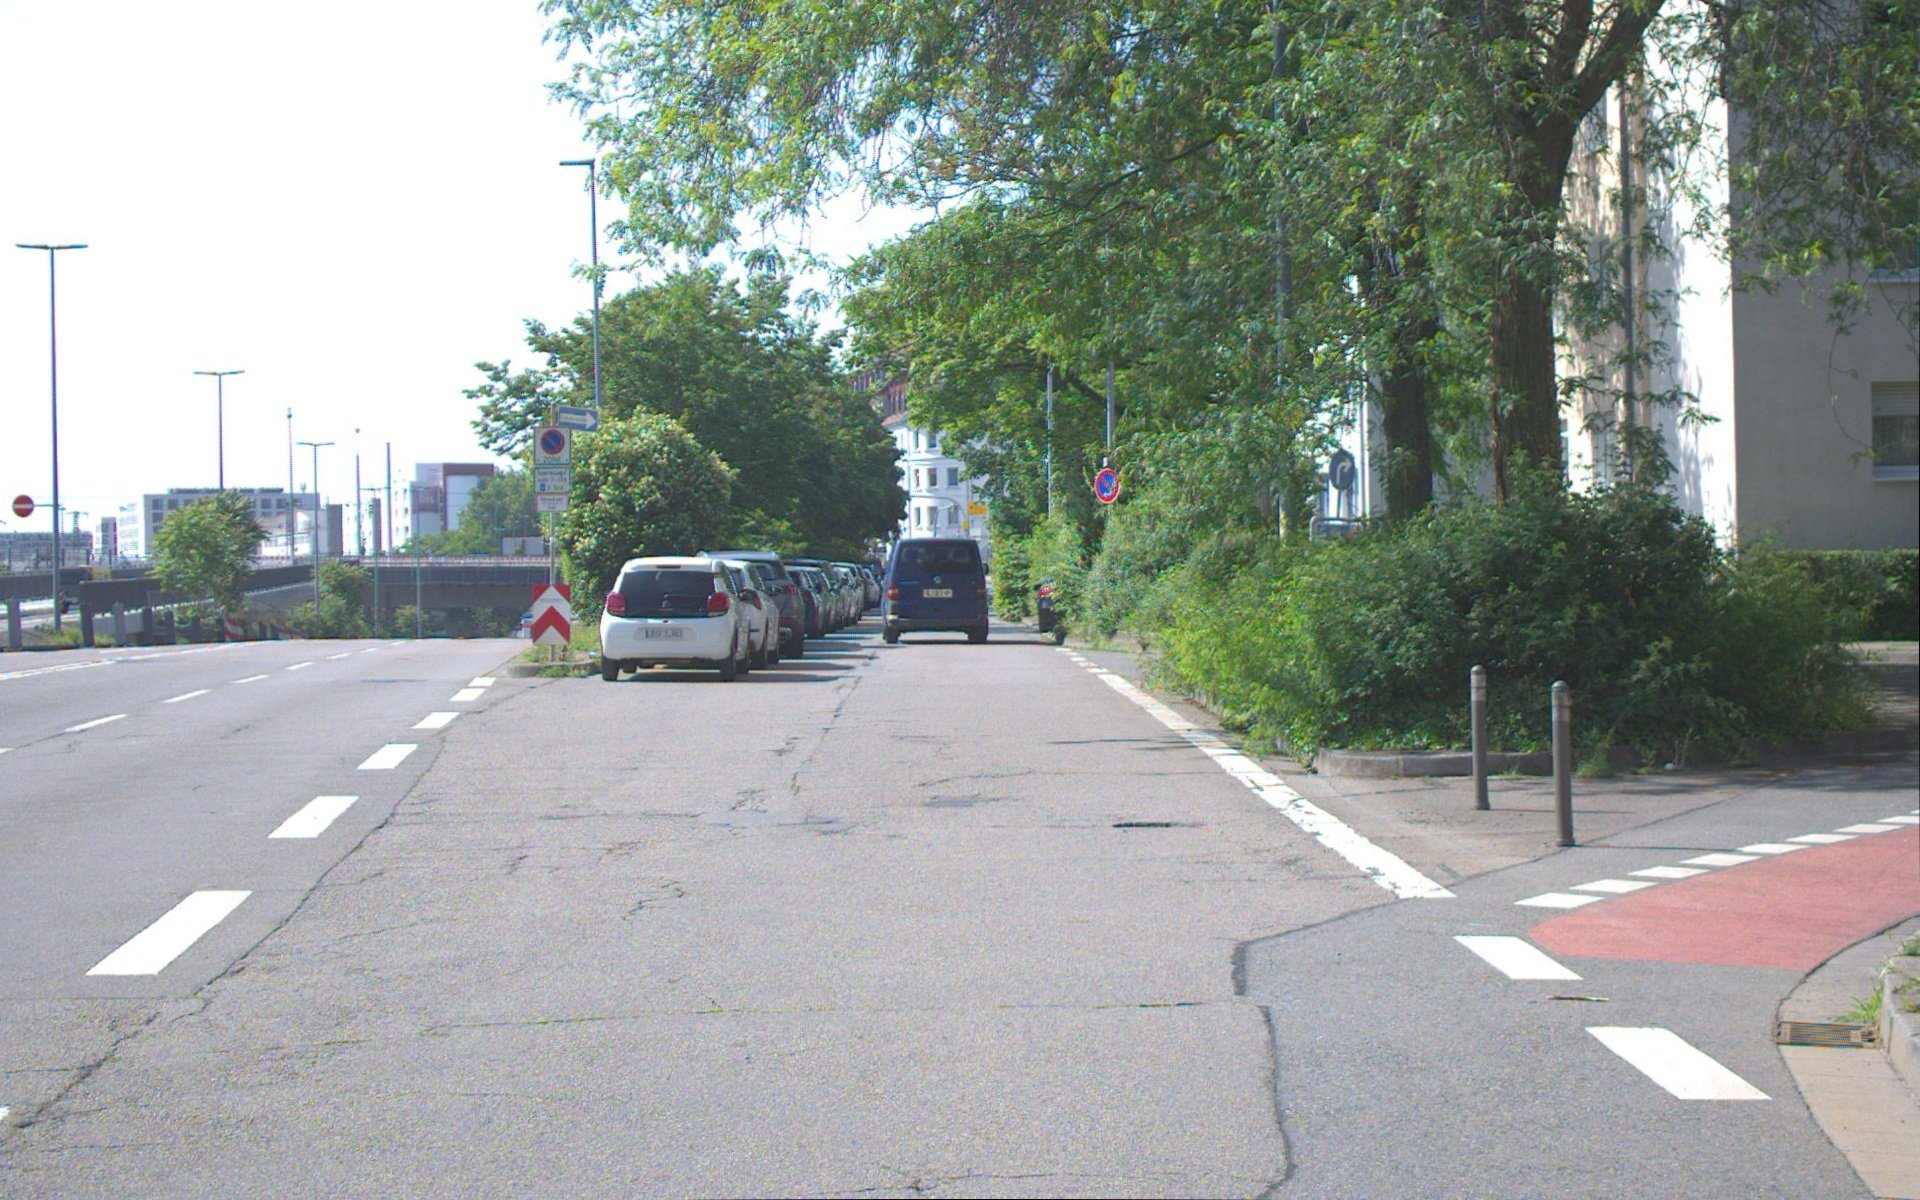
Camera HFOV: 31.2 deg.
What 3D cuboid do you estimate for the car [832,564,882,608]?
[{"bbox_3d":[-3.792,-0.529,127.248,1.664,1.504,4.008,2,1,0],"label":"car"}]

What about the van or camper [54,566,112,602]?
[{"bbox_3d":[-33.317,-0.628,130.671,1.466,1.345,4.631,0,1,-6],"label":"van or camper"}]

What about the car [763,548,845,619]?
[{"bbox_3d":[-3.550,-0.399,78.875,1.664,1.578,3.931,0,1,0],"label":"car"}]

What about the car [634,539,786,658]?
[{"bbox_3d":[-3.373,-0.053,47.027,1.721,1.500,4.132,2,1,0],"label":"car"}]

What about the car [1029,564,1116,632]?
[{"bbox_3d":[2.433,-0.056,75.363,1.726,1.415,4.000,-1,0,0],"label":"car"}]

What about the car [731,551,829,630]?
[{"bbox_3d":[-3.545,-0.208,68.208,1.664,1.468,3.789,2,1,0],"label":"car"}]

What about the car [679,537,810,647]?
[{"bbox_3d":[-3.313,-0.160,52.244,1.771,1.574,4.187,-1,1,-6],"label":"car"}]

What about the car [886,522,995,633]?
[{"bbox_3d":[-0.343,-0.433,63.587,1.883,1.915,4.008,2,1,0],"label":"car"}]

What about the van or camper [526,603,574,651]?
[{"bbox_3d":[-24.218,1.580,203.220,2.296,2.780,5.571,0,0,-1],"label":"van or camper"}]

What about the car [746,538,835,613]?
[{"bbox_3d":[-3.620,-0.537,74.040,1.664,1.506,3.789,2,1,0],"label":"car"}]

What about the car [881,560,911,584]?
[{"bbox_3d":[-4.322,-1.884,233.074,1.993,1.651,4.000,0,0,-1],"label":"car"}]

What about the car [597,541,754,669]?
[{"bbox_3d":[-3.463,0.036,42.323,1.619,1.500,3.461,1,1,0],"label":"car"}]
